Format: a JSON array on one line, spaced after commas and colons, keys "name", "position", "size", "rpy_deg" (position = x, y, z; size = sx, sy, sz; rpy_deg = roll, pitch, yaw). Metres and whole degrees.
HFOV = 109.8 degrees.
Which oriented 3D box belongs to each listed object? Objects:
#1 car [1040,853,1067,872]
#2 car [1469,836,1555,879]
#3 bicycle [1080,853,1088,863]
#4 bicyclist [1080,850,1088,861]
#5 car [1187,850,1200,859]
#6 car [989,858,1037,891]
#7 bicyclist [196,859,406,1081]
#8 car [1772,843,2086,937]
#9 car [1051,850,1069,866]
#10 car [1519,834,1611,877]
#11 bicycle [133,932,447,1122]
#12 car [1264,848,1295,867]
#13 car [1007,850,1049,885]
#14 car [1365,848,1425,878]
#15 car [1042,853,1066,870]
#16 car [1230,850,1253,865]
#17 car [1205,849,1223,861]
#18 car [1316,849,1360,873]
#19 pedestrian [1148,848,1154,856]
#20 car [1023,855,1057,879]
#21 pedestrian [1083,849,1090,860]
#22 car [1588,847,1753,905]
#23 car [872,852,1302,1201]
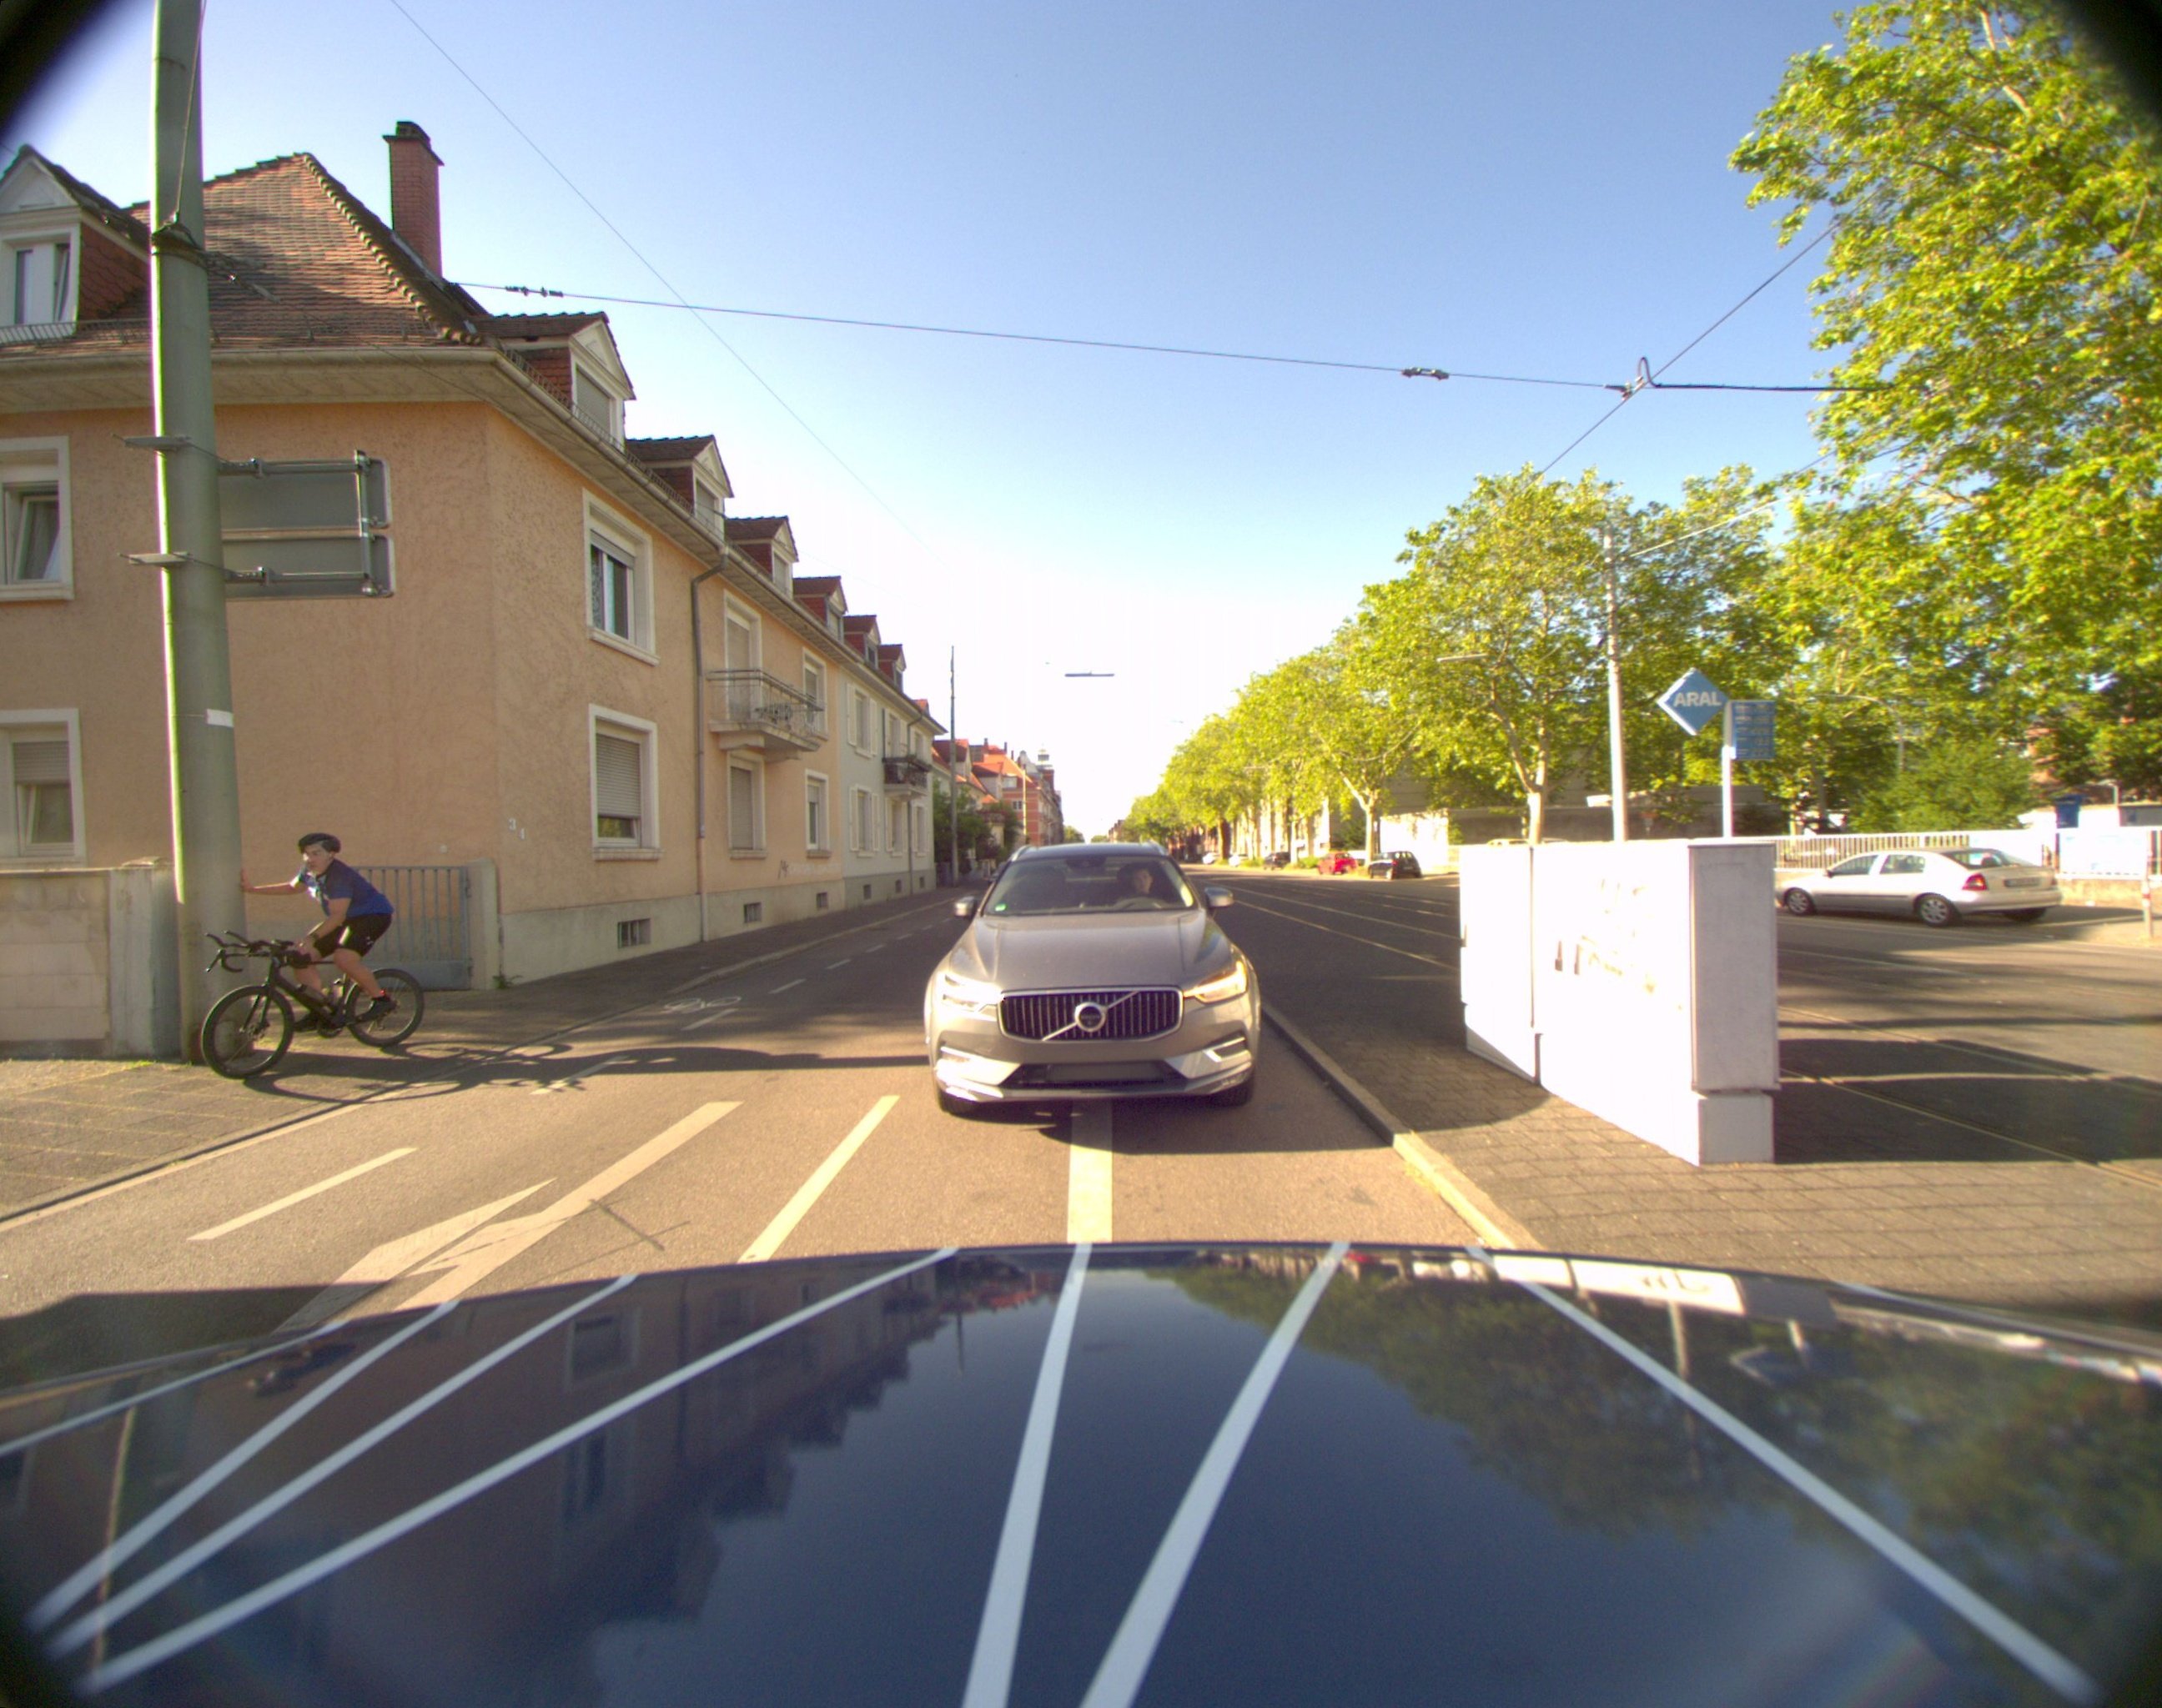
[{"name": "car", "position": [-2.128, 0.660, 60.059], "size": [1.867, 1.399, 4.078], "rpy_deg": [-1, 0, 1]}, {"name": "car", "position": [21.815, 0.165, 38.643], "size": [1.999, 2.002, 3.999], "rpy_deg": [-1, 0, -1]}, {"name": "bicycle", "position": [0.387, 0.562, 105.936], "size": [1.054, 1.262, 3.914], "rpy_deg": [-1, 0, 1]}, {"name": "bicyclist", "position": [0.382, 0.261, 105.935], "size": [1.054, 1.496, 1.250], "rpy_deg": [-1, 1, 1]}, {"name": "car", "position": [18.512, 0.050, 125.296], "size": [1.758, 1.475, 3.858], "rpy_deg": [-3, 0, 3]}, {"name": "car", "position": [-3.233, 0.958, 37.079], "size": [1.867, 1.399, 4.424], "rpy_deg": [-1, 0, 1]}, {"name": "bicyclist", "position": [-6.144, 0.852, 6.055], "size": [0.562, 1.607, 1.016], "rpy_deg": [-1, 1, 1]}, {"name": "car", "position": [16.242, 0.605, 14.910], "size": [1.847, 1.477, 3.858], "rpy_deg": [-4, 0, 2]}, {"name": "car", "position": [-2.320, 0.424, 85.453], "size": [1.867, 1.653, 4.078], "rpy_deg": [-1, 0, 1]}, {"name": "car", "position": [24.163, 0.076, 38.102], "size": [1.999, 2.002, 3.999], "rpy_deg": [-1, 0, -1]}, {"name": "bicycle", "position": [-6.104, 1.262, 6.042], "size": [0.550, 1.056, 1.794], "rpy_deg": [4, 0, 1]}, {"name": "car", "position": [17.177, 0.289, 65.918], "size": [1.758, 1.536, 3.858], "rpy_deg": [-3, 0, 3]}, {"name": "car", "position": [-2.910, 0.695, 42.833], "size": [1.867, 1.778, 5.297], "rpy_deg": [-1, 0, 1]}, {"name": "car", "position": [16.895, 0.454, 41.044], "size": [1.758, 1.449, 3.858], "rpy_deg": [-3, 0, 3]}, {"name": "car", "position": [-2.349, 0.613, 66.364], "size": [1.867, 1.399, 4.078], "rpy_deg": [-1, 0, 1]}, {"name": "car", "position": [17.583, 0.350, 83.345], "size": [1.758, 1.475, 3.858], "rpy_deg": [-3, 0, 3]}, {"name": "car", "position": [17.676, 0.157, 100.939], "size": [1.758, 1.475, 3.858], "rpy_deg": [-3, 0, 3]}, {"name": "car", "position": [16.908, 0.447, 50.186], "size": [1.717, 1.421, 3.858], "rpy_deg": [-3, 0, 3]}, {"name": "pedestrian", "position": [19.599, -0.556, 213.139], "size": [1.686, 2.002, 1.761], "rpy_deg": [-1, 1, 1]}, {"name": "car", "position": [-2.574, 0.807, 48.500], "size": [1.867, 1.399, 4.078], "rpy_deg": [-1, 0, 1]}, {"name": "pedestrian", "position": [1.102, 0.106, 150.392], "size": [1.457, 2.002, 1.193], "rpy_deg": [-1, 1, 0]}, {"name": "car", "position": [16.482, 0.566, 21.517], "size": [1.745, 1.389, 3.858], "rpy_deg": [-4, 0, 3]}, {"name": "car", "position": [0.059, 0.811, 5.933], "size": [1.998, 1.609, 4.697], "rpy_deg": [-1, 0, 1]}]
